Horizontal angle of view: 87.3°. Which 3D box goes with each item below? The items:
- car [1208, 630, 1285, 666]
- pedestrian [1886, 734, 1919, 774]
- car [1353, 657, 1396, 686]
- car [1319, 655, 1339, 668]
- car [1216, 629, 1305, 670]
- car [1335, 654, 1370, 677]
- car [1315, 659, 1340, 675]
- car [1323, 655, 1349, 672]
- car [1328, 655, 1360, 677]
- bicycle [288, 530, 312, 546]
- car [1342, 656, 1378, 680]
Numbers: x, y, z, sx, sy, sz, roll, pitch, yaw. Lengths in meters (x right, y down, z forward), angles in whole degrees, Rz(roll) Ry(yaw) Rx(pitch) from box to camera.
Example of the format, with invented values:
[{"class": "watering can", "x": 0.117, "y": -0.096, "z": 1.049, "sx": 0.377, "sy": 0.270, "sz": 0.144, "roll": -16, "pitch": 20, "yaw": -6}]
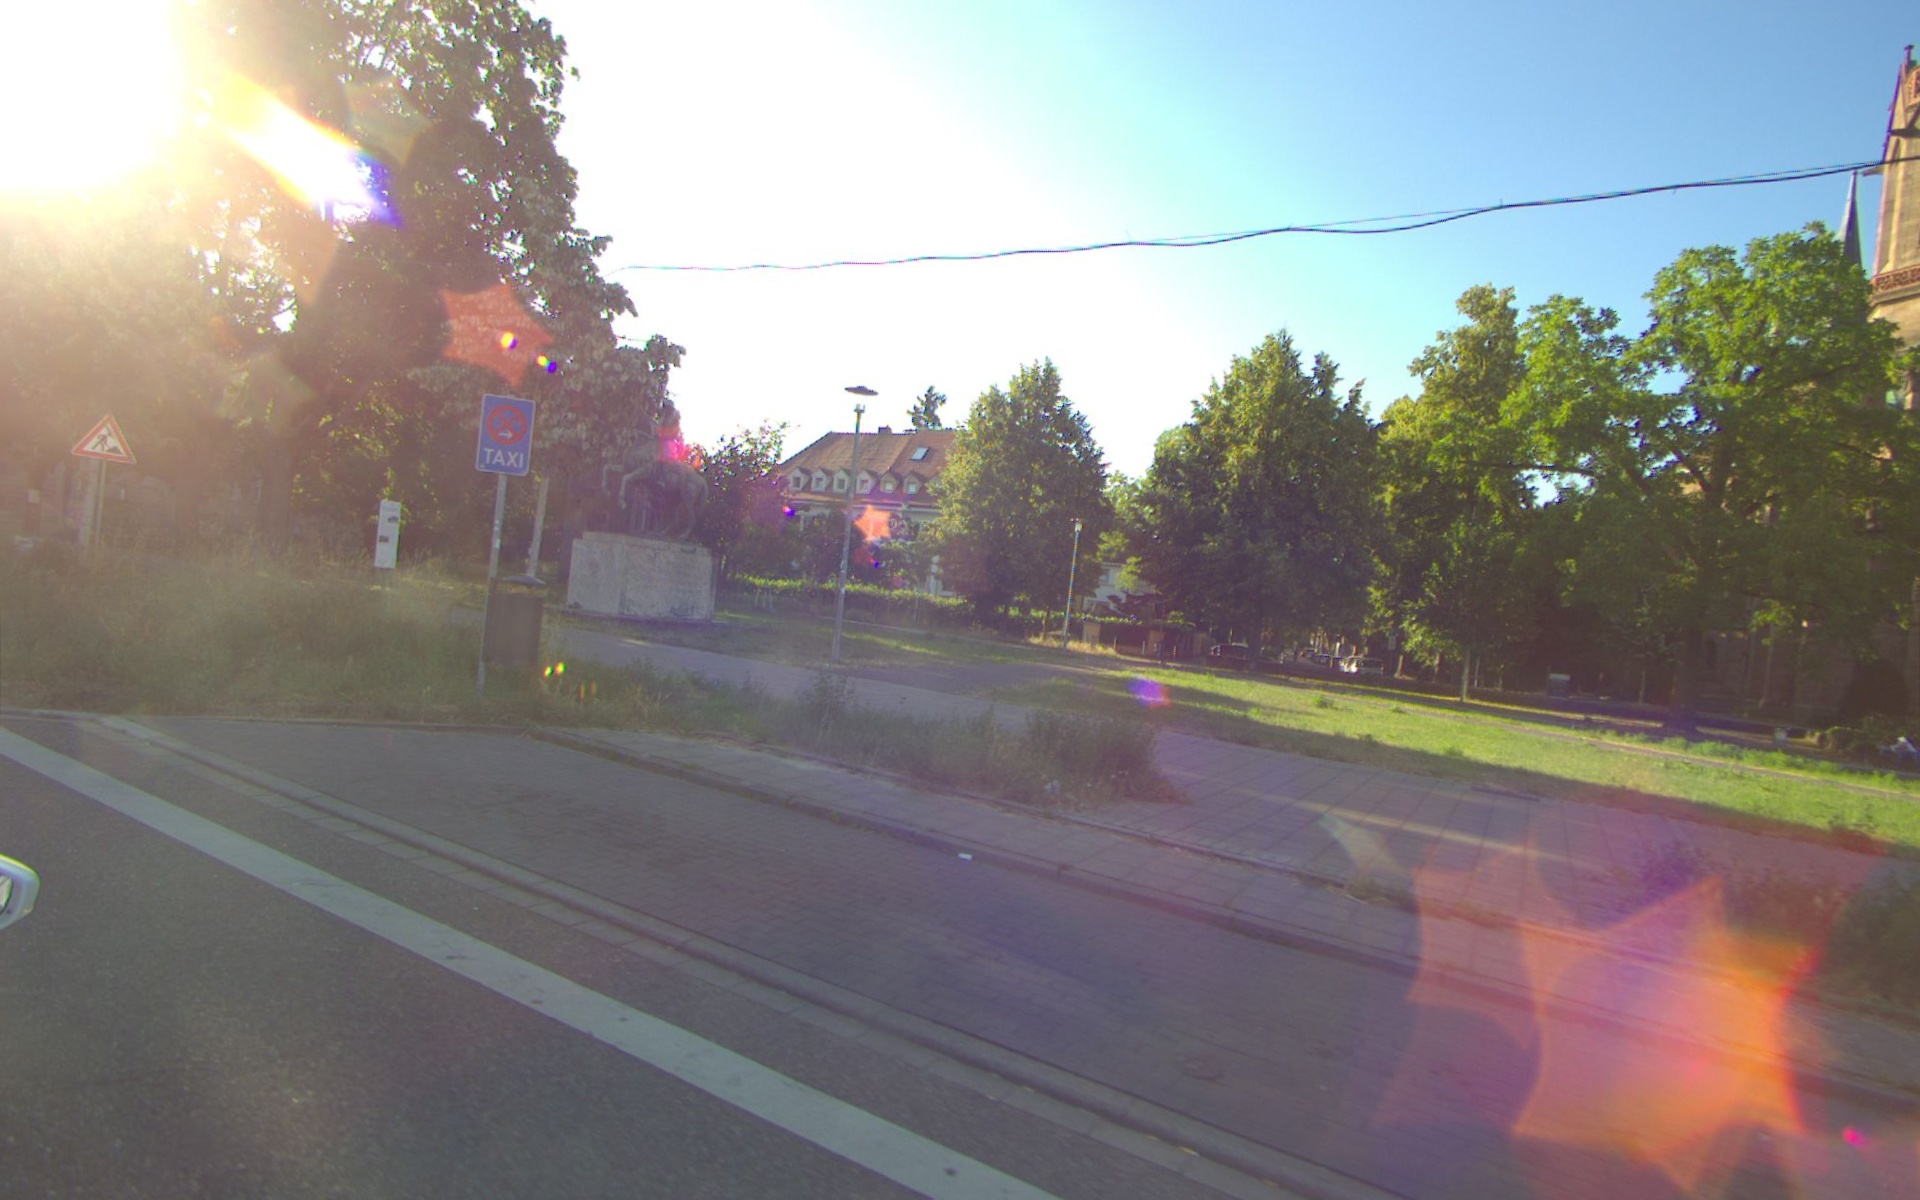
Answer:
[{"class": "car", "x": 17.447, "y": 2.899, "z": 61.314, "sx": 4.086, "sy": 1.650, "sz": 1.868, "roll": 7, "pitch": 1, "yaw": 29}, {"class": "pedestrian", "x": 27.359, "y": 4.429, "z": 28.685, "sx": 1.266, "sy": 1.006, "sz": 1.377, "roll": 7, "pitch": 0, "yaw": 41}, {"class": "car", "x": 26.150, "y": 4.519, "z": 63.468, "sx": 1.572, "sy": 1.528, "sz": 4.148, "roll": 7, "pitch": -1, "yaw": 34}, {"class": "car", "x": 49.188, "y": 8.235, "z": 134.143, "sx": 1.539, "sy": 1.466, "sz": 3.498, "roll": 7, "pitch": -1, "yaw": 36}, {"class": "car", "x": 17.178, "y": 2.817, "z": 57.512, "sx": 4.554, "sy": 1.740, "sz": 1.998, "roll": 7, "pitch": 1, "yaw": 24}, {"class": "car", "x": 30.733, "y": 5.111, "z": 78.725, "sx": 1.539, "sy": 1.466, "sz": 3.498, "roll": 7, "pitch": -1, "yaw": 36}, {"class": "car", "x": 40.100, "y": 7.320, "z": 109.759, "sx": 1.539, "sy": 1.466, "sz": 3.498, "roll": 7, "pitch": -1, "yaw": 36}, {"class": "car", "x": 38.839, "y": 6.583, "z": 103.864, "sx": 1.539, "sy": 1.466, "sz": 3.498, "roll": 7, "pitch": -1, "yaw": 36}, {"class": "car", "x": 31.957, "y": 5.501, "z": 83.678, "sx": 1.539, "sy": 1.466, "sz": 3.498, "roll": 7, "pitch": -1, "yaw": 36}, {"class": "bicycle", "x": -59.922, "y": -5.622, "z": 91.315, "sx": 0.840, "sy": 1.114, "sz": 1.981, "roll": 8, "pitch": 0, "yaw": -3}, {"class": "car", "x": 29.374, "y": 4.988, "z": 73.896, "sx": 1.539, "sy": 1.466, "sz": 3.498, "roll": 7, "pitch": -1, "yaw": 36}]
